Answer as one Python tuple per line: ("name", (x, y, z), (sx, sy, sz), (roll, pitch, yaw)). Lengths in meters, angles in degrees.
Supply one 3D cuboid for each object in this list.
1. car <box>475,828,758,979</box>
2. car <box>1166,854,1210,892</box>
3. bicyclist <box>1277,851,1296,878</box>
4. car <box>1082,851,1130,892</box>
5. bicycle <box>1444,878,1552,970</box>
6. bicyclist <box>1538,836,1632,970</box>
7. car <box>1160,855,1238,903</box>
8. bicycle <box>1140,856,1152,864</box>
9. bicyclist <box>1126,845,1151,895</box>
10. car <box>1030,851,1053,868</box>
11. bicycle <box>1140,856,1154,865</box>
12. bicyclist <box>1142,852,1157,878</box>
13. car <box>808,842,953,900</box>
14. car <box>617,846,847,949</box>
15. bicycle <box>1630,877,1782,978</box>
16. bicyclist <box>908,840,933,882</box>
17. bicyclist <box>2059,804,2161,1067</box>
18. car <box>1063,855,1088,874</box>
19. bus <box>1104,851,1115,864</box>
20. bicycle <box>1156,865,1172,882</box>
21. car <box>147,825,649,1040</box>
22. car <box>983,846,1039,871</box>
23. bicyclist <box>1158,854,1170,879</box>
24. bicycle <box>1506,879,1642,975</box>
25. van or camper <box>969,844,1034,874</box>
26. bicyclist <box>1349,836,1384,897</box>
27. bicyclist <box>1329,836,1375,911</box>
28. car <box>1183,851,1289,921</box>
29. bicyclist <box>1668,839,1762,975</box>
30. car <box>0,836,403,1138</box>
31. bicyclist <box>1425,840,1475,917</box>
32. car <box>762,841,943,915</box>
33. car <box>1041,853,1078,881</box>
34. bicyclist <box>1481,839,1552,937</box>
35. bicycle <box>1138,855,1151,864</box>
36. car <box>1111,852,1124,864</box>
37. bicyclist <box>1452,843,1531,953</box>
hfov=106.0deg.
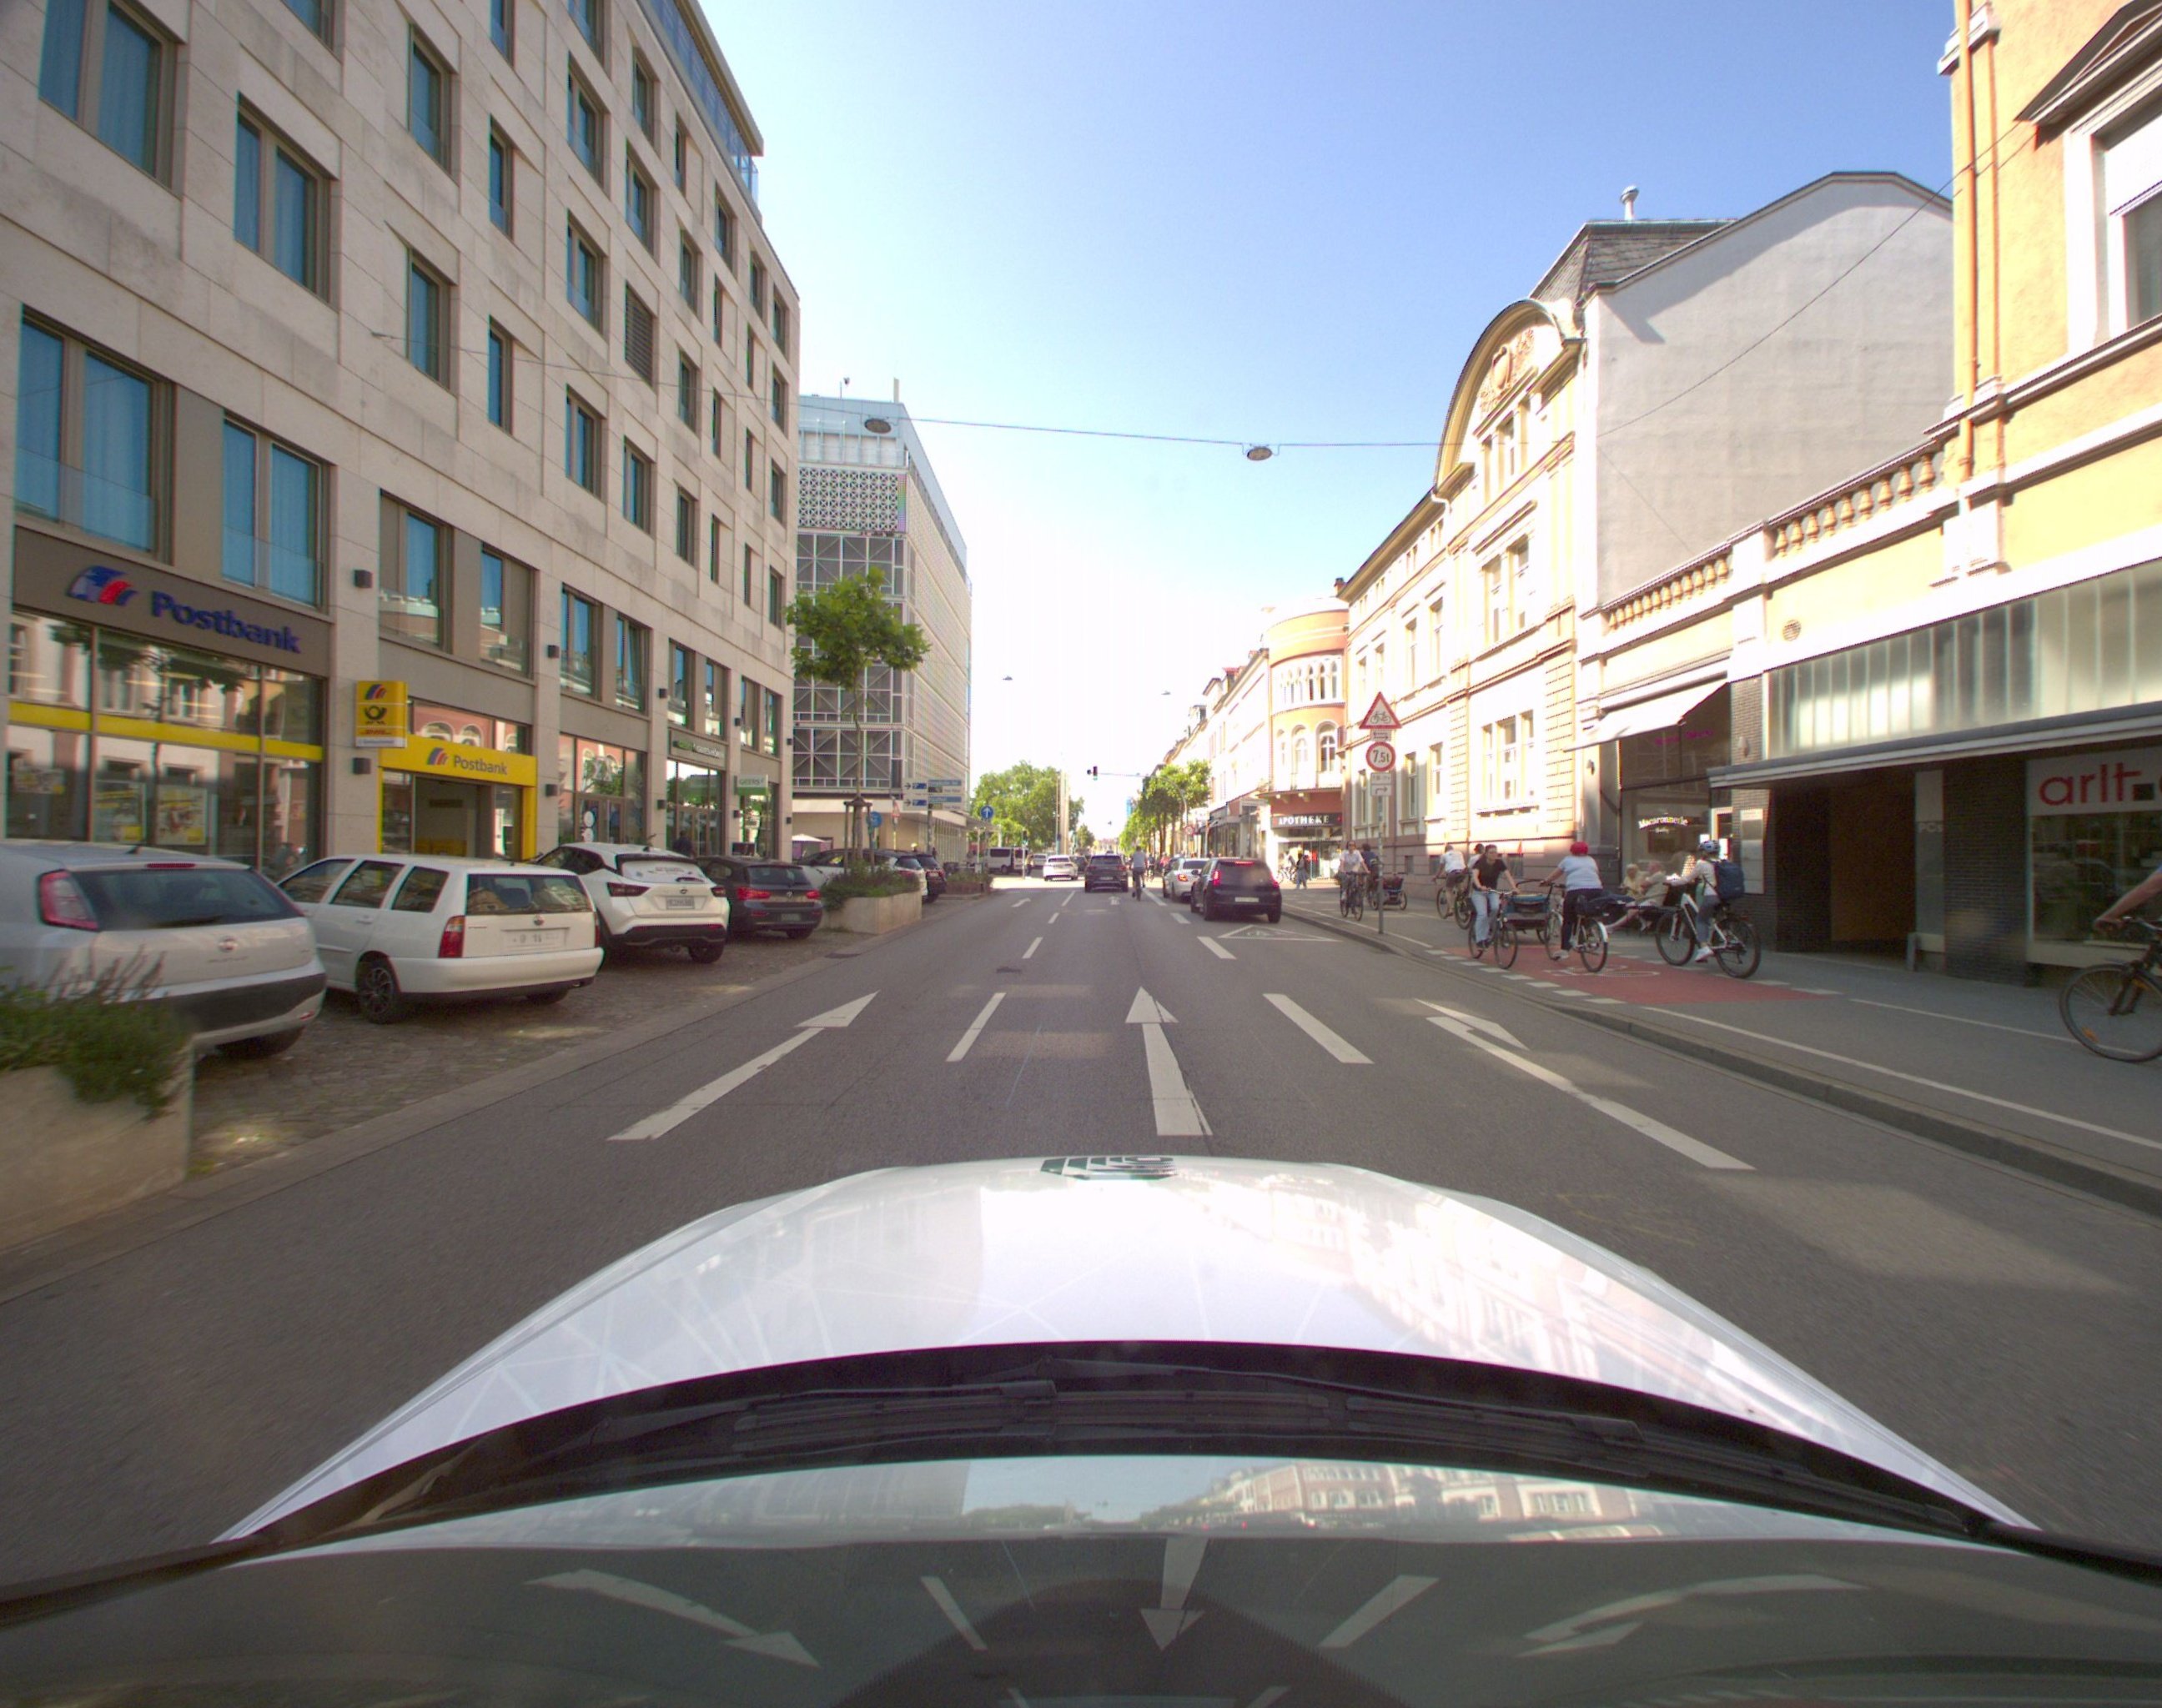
("car", (-6.715, 0.598, 11.665), (3.987, 1.593, 1.830), (5, 0, 34))
("car", (4.549, 0.798, 34.152), (1.618, 1.478, 3.742), (1, -1, 11))
("bicyclist", (10.787, 0.546, 42.759), (0.855, 1.411, 0.501), (0, 0, 2))
("car", (0.968, 0.688, 33.922), (1.840, 1.559, 3.999), (-1, 0, -1))
("bicycle", (6.039, 0.968, 11.928), (0.592, 1.127, 2.096), (-2, 1, 3))
("bicyclist", (6.803, 0.644, 11.037), (0.680, 1.717, 0.845), (-3, -1, 2))
("car", (3.878, 0.766, 27.530), (1.945, 1.425, 4.886), (2, 0, 1))
("bicycle", (8.640, 0.815, 108.128), (1.642, 1.095, 0.607), (1, 0, 4))
("bicyclist", (1.894, 0.514, 26.960), (0.771, 1.635, 0.851), (0, 0, 2))
("car", (-3.748, 0.501, 78.592), (1.792, 1.523, 4.741), (1, 0, 2))
("bicycle", (8.349, 0.760, 102.513), (1.720, 1.109, 0.403), (1, 0, 4))
("bicyclist", (3.815, 0.599, 45.265), (0.696, 1.440, 0.790), (2, -1, -2))
("car", (-6.303, 0.524, 25.664), (3.985, 1.603, 1.969), (2, -1, 24))
("car", (-6.423, 0.702, 14.825), (4.264, 1.449, 1.798), (3, 0, 35))
("bicycle", (8.037, 0.904, 10.591), (0.603, 1.127, 1.861), (-2, 0, 3))
("bicyclist", (-7.601, 0.352, 38.586), (0.837, 1.960, 1.019), (0, -1, 7))
("bicyclist", (7.482, 0.530, 5.444), (0.835, 1.717, 0.845), (-1, -1, 2))
("car", (-0.388, 0.835, 64.657), (1.839, 1.449, 4.001), (-1, 0, 1))
("bus", (8.154, 1.118, 235.484), (2.984, 3.594, 11.746), (0, -1, 1))
("bicycle", (4.609, 1.063, 45.311), (0.598, 0.926, 2.086), (1, -1, -1))
("car", (-6.898, 0.633, 8.253), (4.449, 1.432, 1.872), (5, 0, 21))
("car", (-5.770, 0.347, 67.125), (4.389, 1.909, 2.022), (1, 1, 38))
("bicyclist", (4.619, 0.686, 45.315), (0.598, 1.358, 0.720), (1, -1, -1))
("bicycle", (6.755, 0.955, 11.302), (0.732, 1.127, 2.035), (-2, 0, 3))
("van or camper", (-5.787, 0.328, 58.876), (4.602, 2.013, 2.012), (2, 1, 41))
("bicyclist", (8.083, 0.355, 23.057), (0.728, 1.673, 0.775), (-1, -1, 3))
("bicyclist", (6.299, 0.448, 18.964), (0.743, 1.703, 1.036), (-1, -1, 2))
("car", (3.756, 0.754, 20.479), (1.880, 1.491, 4.290), (2, -1, 1))
("bicyclist", (7.972, 0.641, 10.266), (0.513, 1.636, 0.845), (-1, -1, 2))
("car", (-7.198, 0.659, 5.258), (3.973, 1.528, 1.820), (3, -2, 0))
("bicyclist", (8.205, 0.522, 18.140), (0.569, 1.661, 1.159), (-2, 1, 0))
("car", (-6.169, 0.622, 22.251), (4.133, 1.637, 2.108), (4, 0, 10))
("car", (-1.200, 0.723, 46.980), (1.838, 1.560, 4.002), (-1, 0, 2))
("bicyclist", (7.373, 0.554, 13.817), (0.743, 1.573, 0.845), (-2, 2, 2))
("bicycle", (8.674, 0.775, 111.378), (1.835, 1.201, 0.609), (1, 0, 4))
("car", (5.409, 0.617, 121.210), (1.838, 1.668, 4.001), (2, 0, 1))
("bicyclist", (6.065, 0.632, 12.085), (0.743, 1.573, 0.845), (-1, -1, 2))
